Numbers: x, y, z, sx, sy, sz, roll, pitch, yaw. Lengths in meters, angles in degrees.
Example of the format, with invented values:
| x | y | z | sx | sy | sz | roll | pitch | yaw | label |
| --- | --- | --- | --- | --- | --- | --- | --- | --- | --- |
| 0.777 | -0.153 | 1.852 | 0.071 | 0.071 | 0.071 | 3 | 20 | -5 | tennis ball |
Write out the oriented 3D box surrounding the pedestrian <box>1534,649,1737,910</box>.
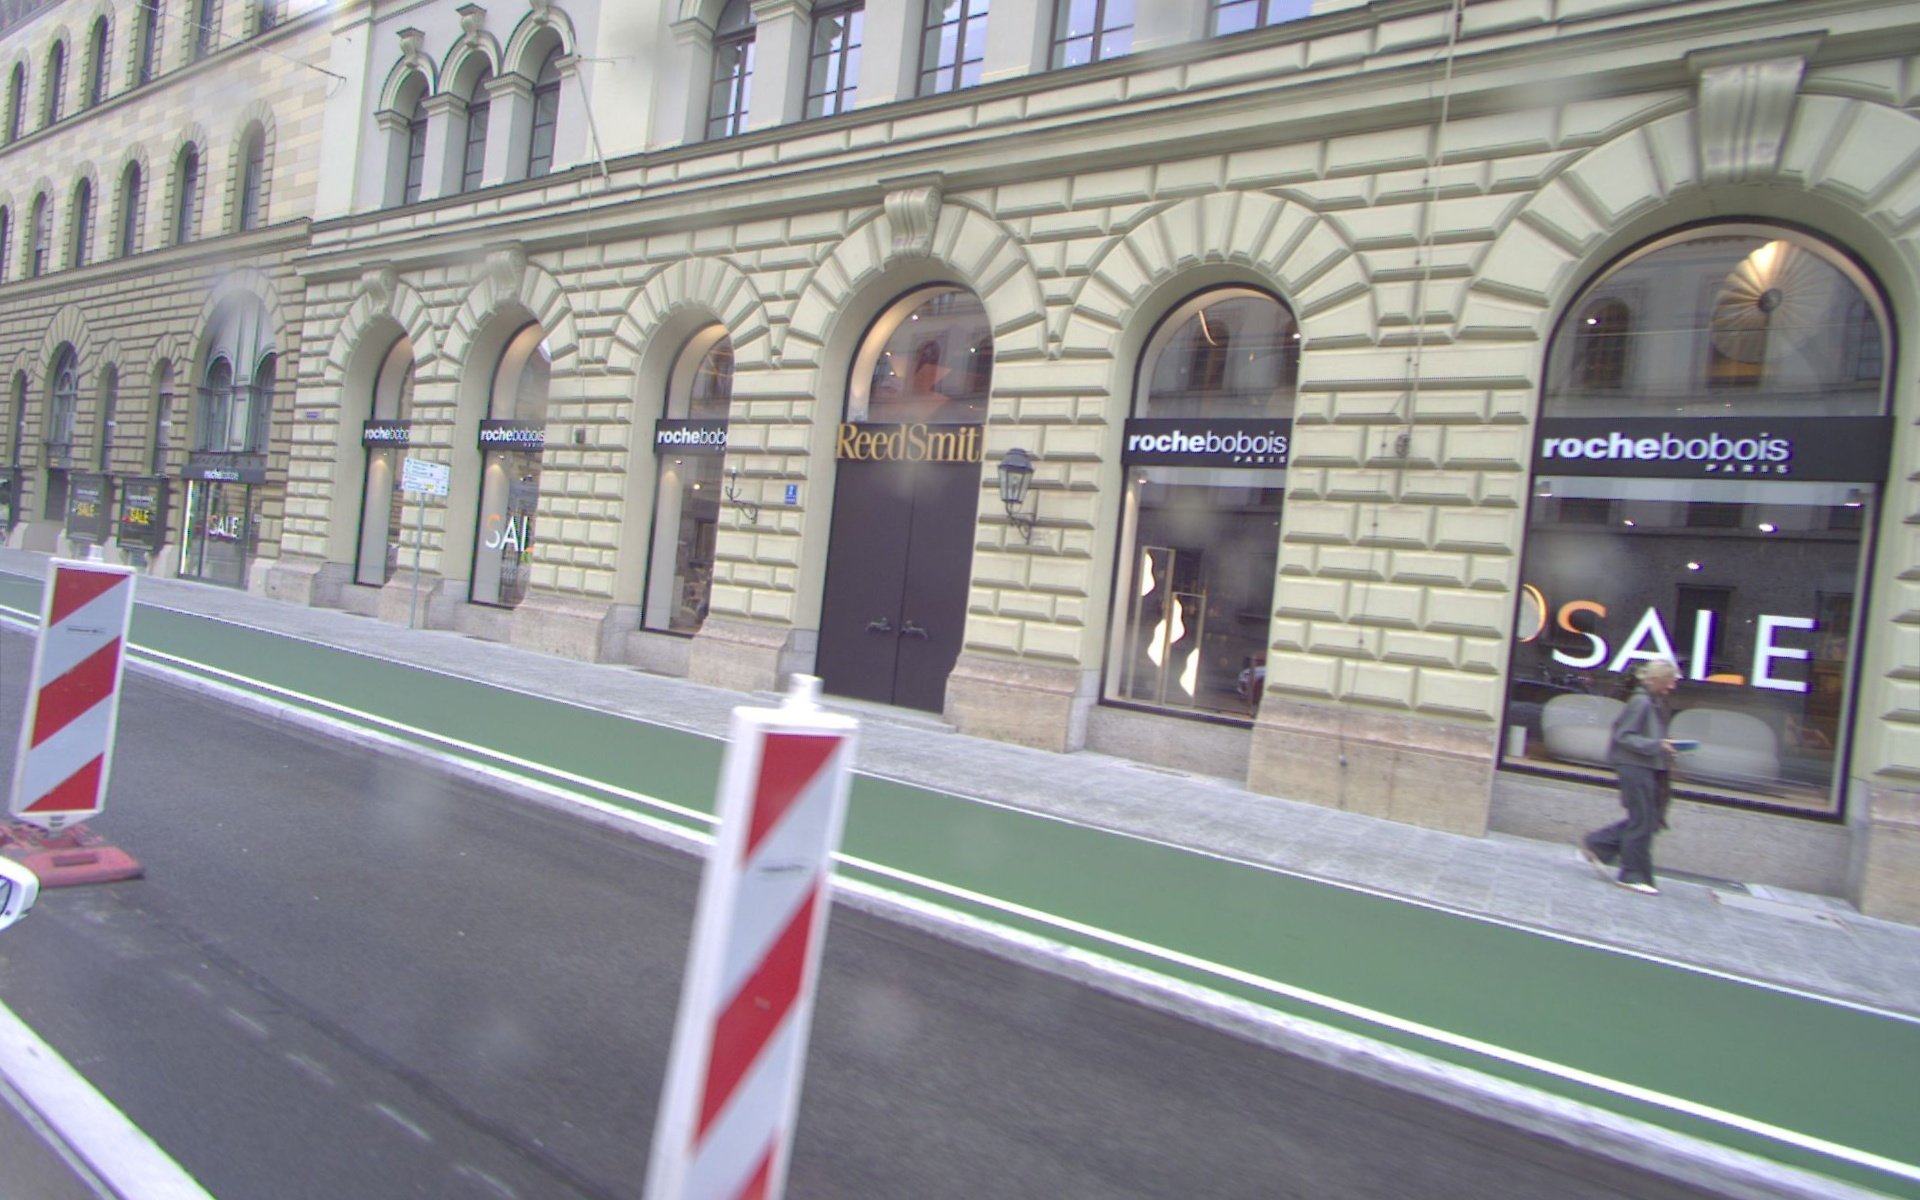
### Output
| x | y | z | sx | sy | sz | roll | pitch | yaw | label |
| --- | --- | --- | --- | --- | --- | --- | --- | --- | --- |
| 5.085 | 1.304 | 7.652 | 1.068 | 1.726 | 0.632 | 7 | 1 | 31 | pedestrian |
